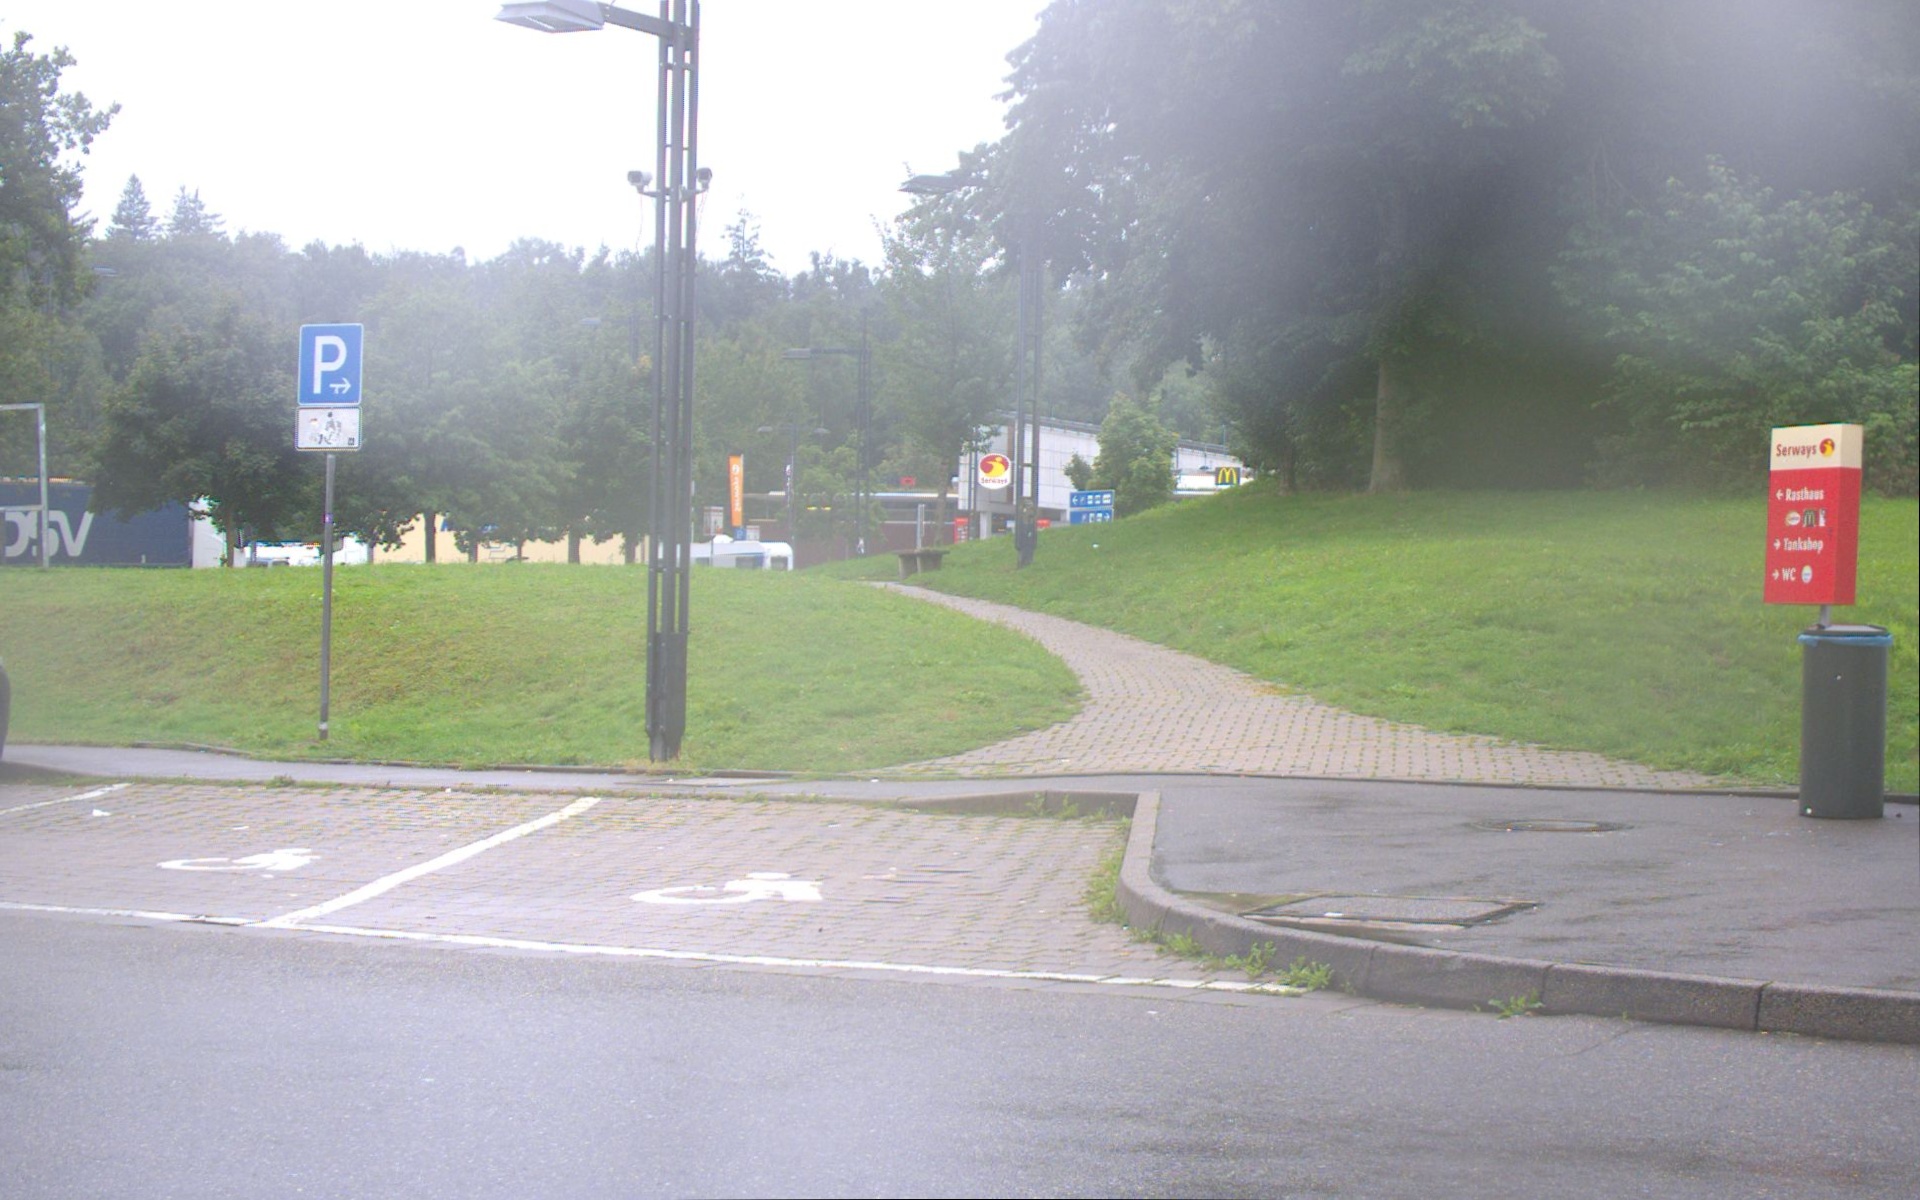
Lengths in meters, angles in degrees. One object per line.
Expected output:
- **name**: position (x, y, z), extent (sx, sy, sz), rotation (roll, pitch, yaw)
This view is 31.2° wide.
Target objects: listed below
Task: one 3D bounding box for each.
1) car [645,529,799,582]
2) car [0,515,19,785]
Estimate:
- **car**: position (-9.256, -1.735, 133.779), extent (5.429, 2.007, 2.453), rotation (1, 1, 20)
- **car**: position (-7.768, 0.373, 21.452), extent (1.885, 1.821, 4.411), rotation (0, 1, 11)
